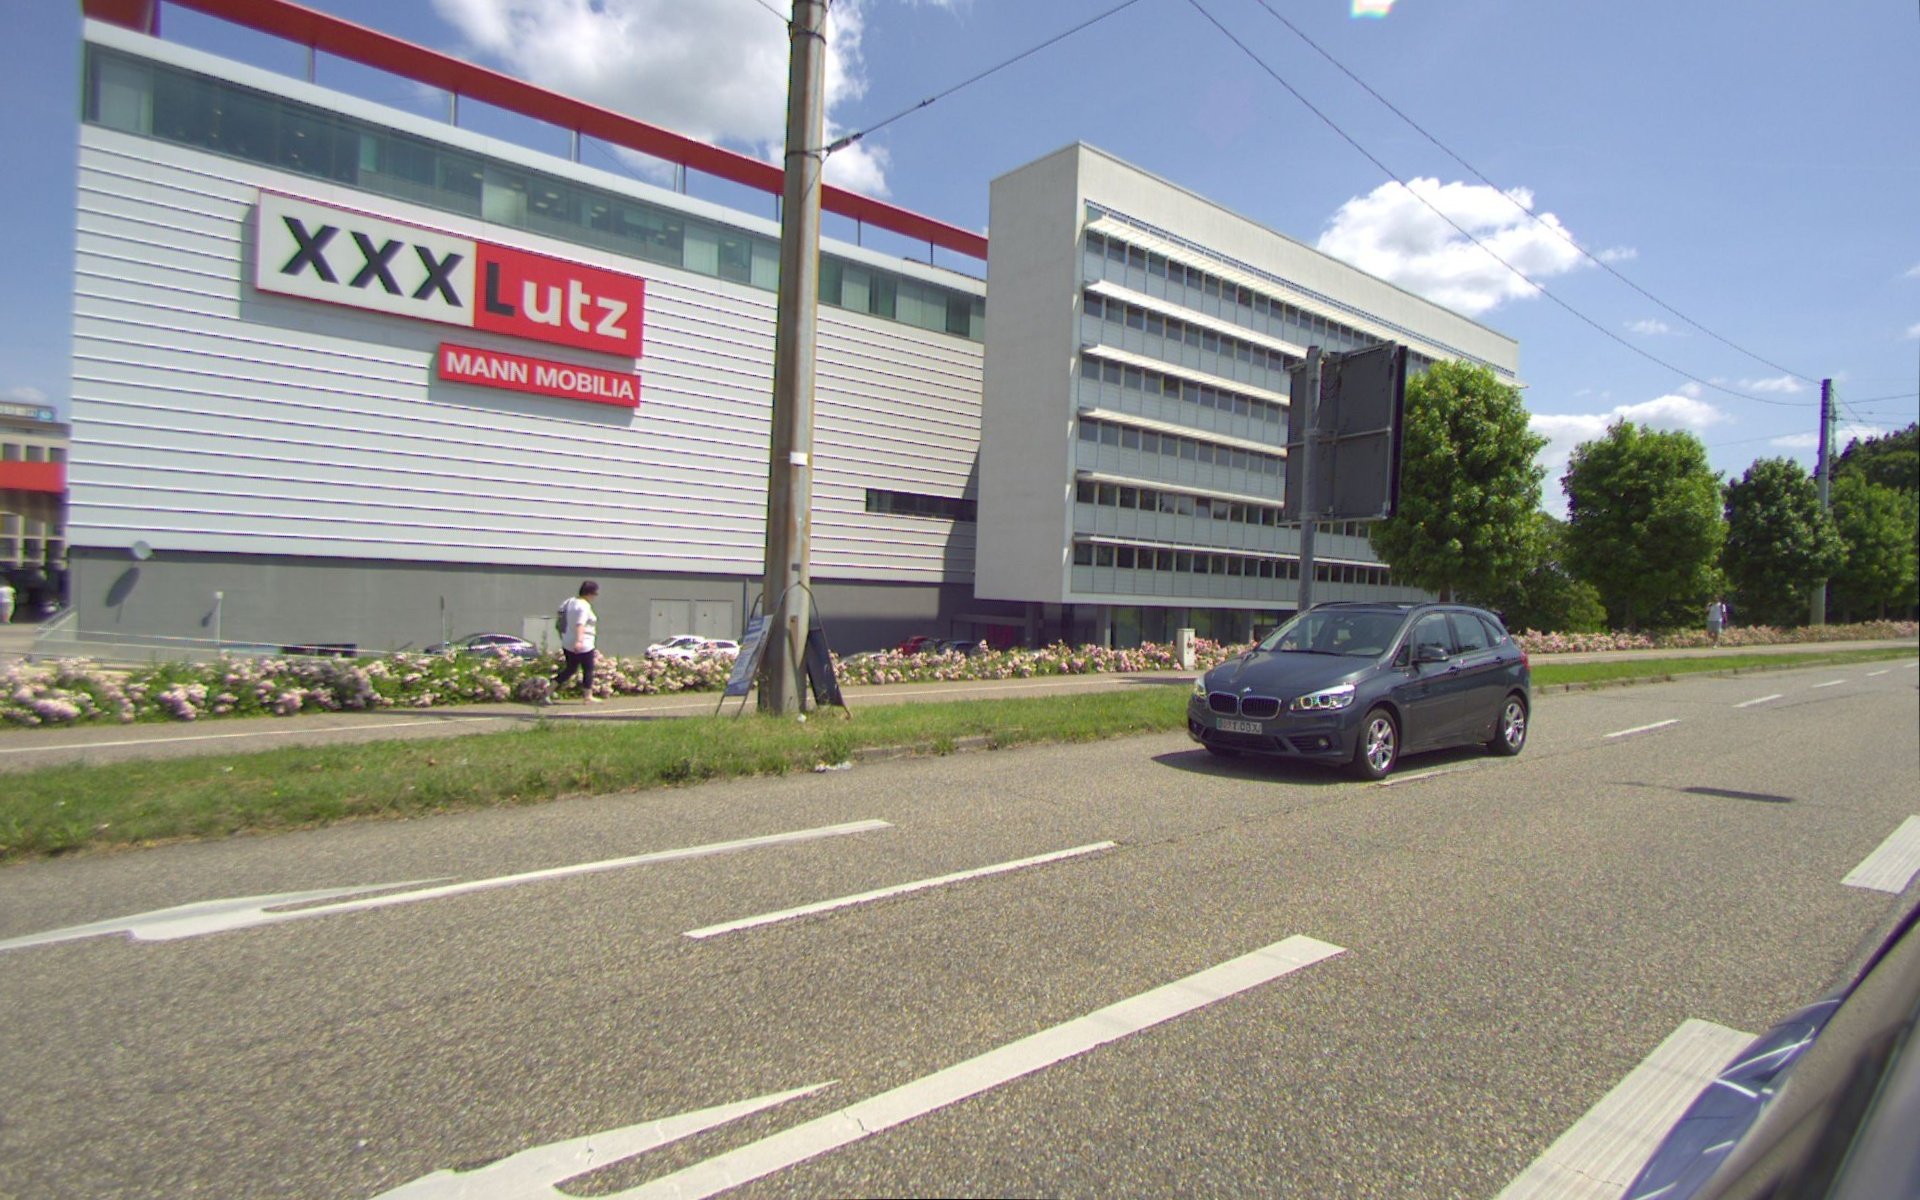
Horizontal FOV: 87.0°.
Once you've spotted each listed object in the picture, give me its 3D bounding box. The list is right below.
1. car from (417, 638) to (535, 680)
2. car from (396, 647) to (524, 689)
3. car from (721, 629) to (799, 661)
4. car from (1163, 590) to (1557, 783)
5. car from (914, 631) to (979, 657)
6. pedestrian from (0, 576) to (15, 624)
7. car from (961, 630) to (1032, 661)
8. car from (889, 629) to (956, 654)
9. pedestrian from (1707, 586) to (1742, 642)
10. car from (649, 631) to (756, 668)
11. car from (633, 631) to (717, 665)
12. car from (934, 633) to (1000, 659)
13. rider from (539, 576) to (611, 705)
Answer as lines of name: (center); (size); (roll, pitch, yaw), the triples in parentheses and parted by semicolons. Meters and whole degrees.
car: (-21.922, 2.613, 45.924); (4.509, 1.632, 1.997); (0, 0, -41)
car: (-20.208, 2.711, 41.015); (4.278, 1.416, 1.996); (0, 0, -43)
car: (-11.435, 2.566, 57.928); (3.930, 1.632, 1.997); (0, 0, -41)
car: (4.066, 0.705, 10.053); (4.022, 1.546, 1.766); (0, 0, -36)
car: (-0.844, 2.718, 63.011); (3.930, 1.403, 1.646); (0, 0, -41)
pedestrian: (-38.540, 0.004, 40.723); (0.723, 1.893, 0.741); (1, -1, -42)
car: (2.164, 2.639, 59.655); (3.930, 1.632, 1.997); (0, 0, -41)
car: (-2.404, 2.669, 65.424); (3.930, 1.465, 1.997); (0, 0, -41)
pedestrian: (25.807, 0.458, 34.164); (0.913, 1.872, 0.758); (1, 0, -38)
car: (-13.325, 2.532, 52.648); (5.056, 1.632, 1.997); (0, 0, -41)
car: (-15.352, 2.556, 54.569); (3.930, 1.632, 1.997); (0, 0, -41)
car: (0.470, 2.766, 61.371); (3.930, 1.338, 1.607); (0, 0, -41)
rider: (-4.603, 0.461, 12.096); (0.607, 1.476, 0.670); (1, 0, -41)
